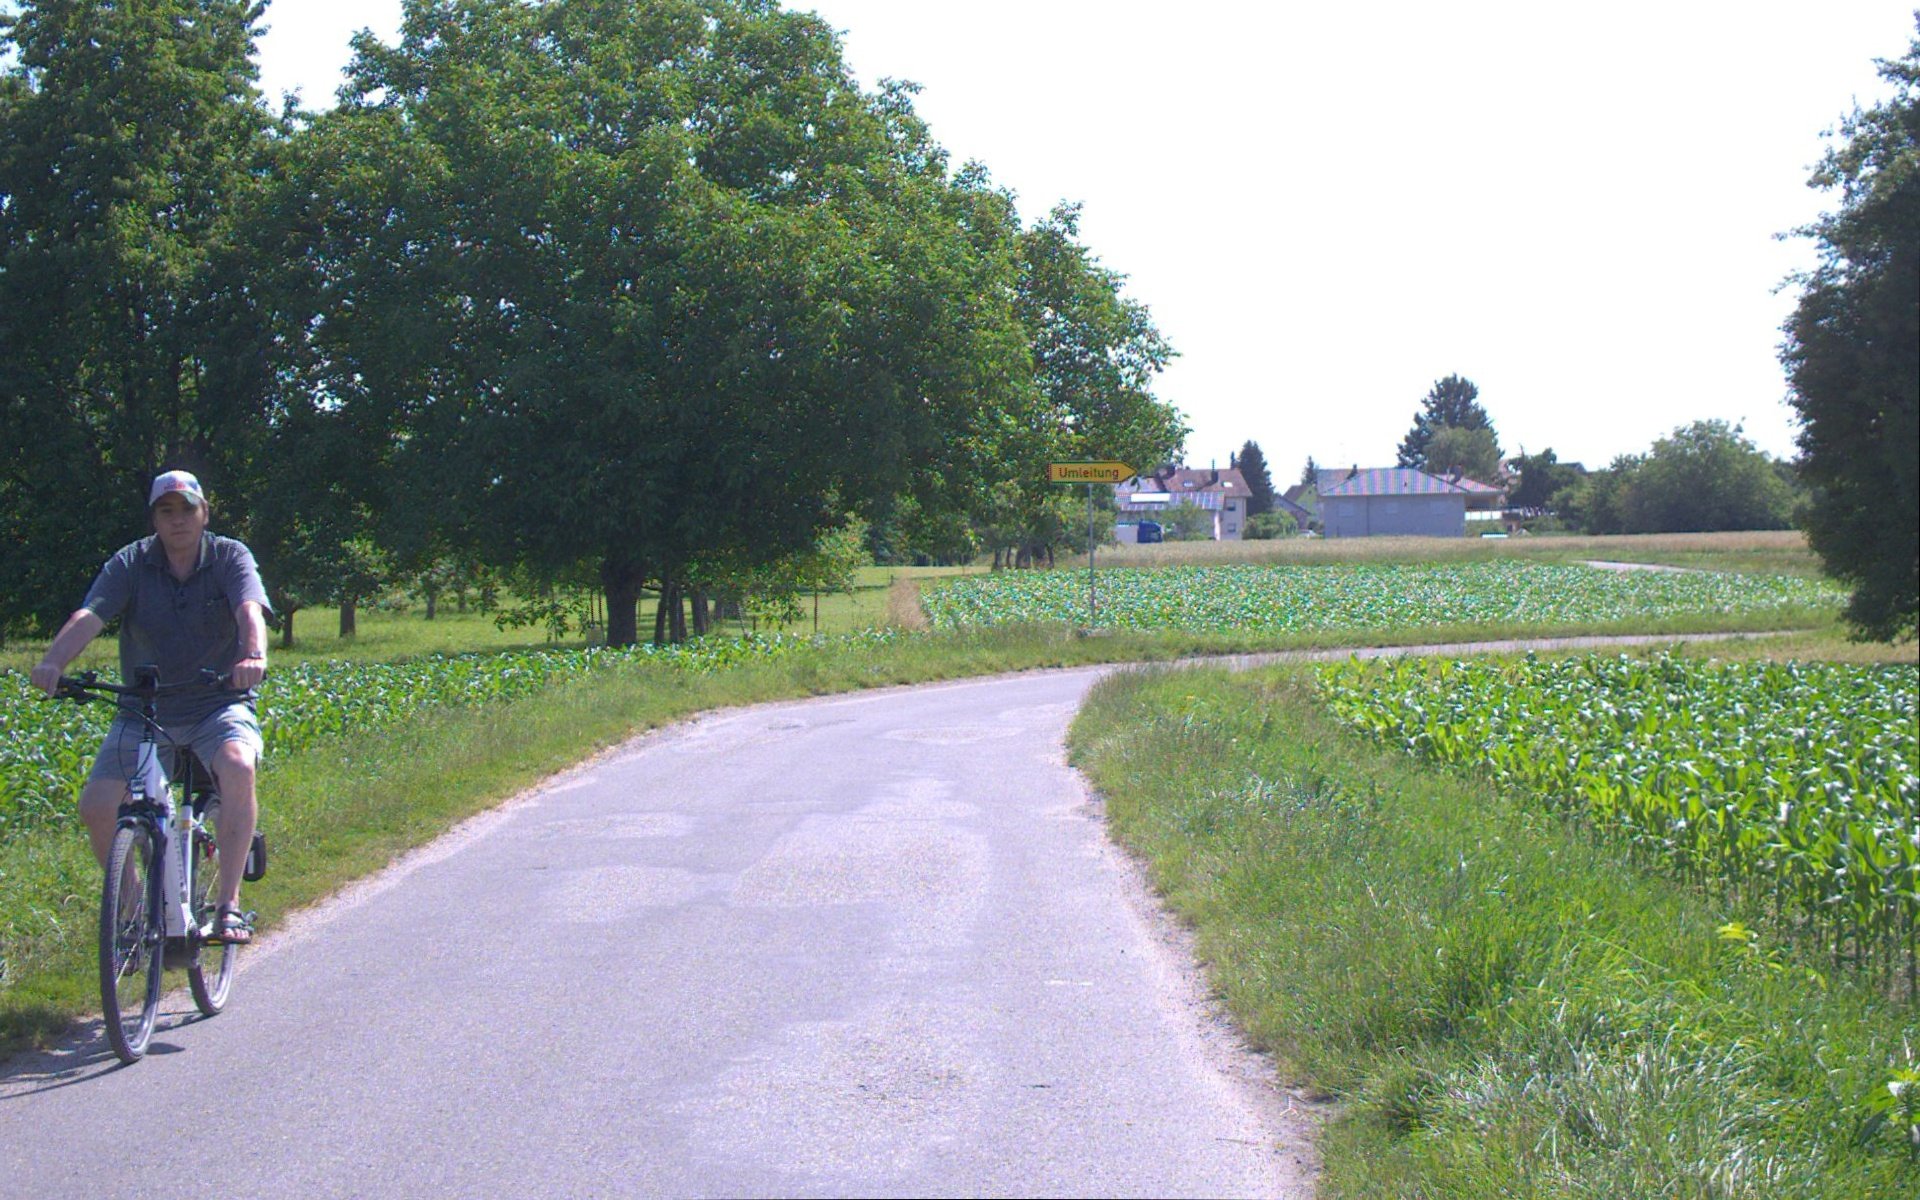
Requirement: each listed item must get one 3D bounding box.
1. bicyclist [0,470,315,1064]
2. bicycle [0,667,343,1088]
[{"bbox_3d":[-2.531,0.508,10.905,0.750,1.785,0.717,-3,1,-1],"label":"bicyclist"},{"bbox_3d":[-2.520,0.824,10.907,0.750,1.123,1.908,-3,1,-1],"label":"bicycle"}]
